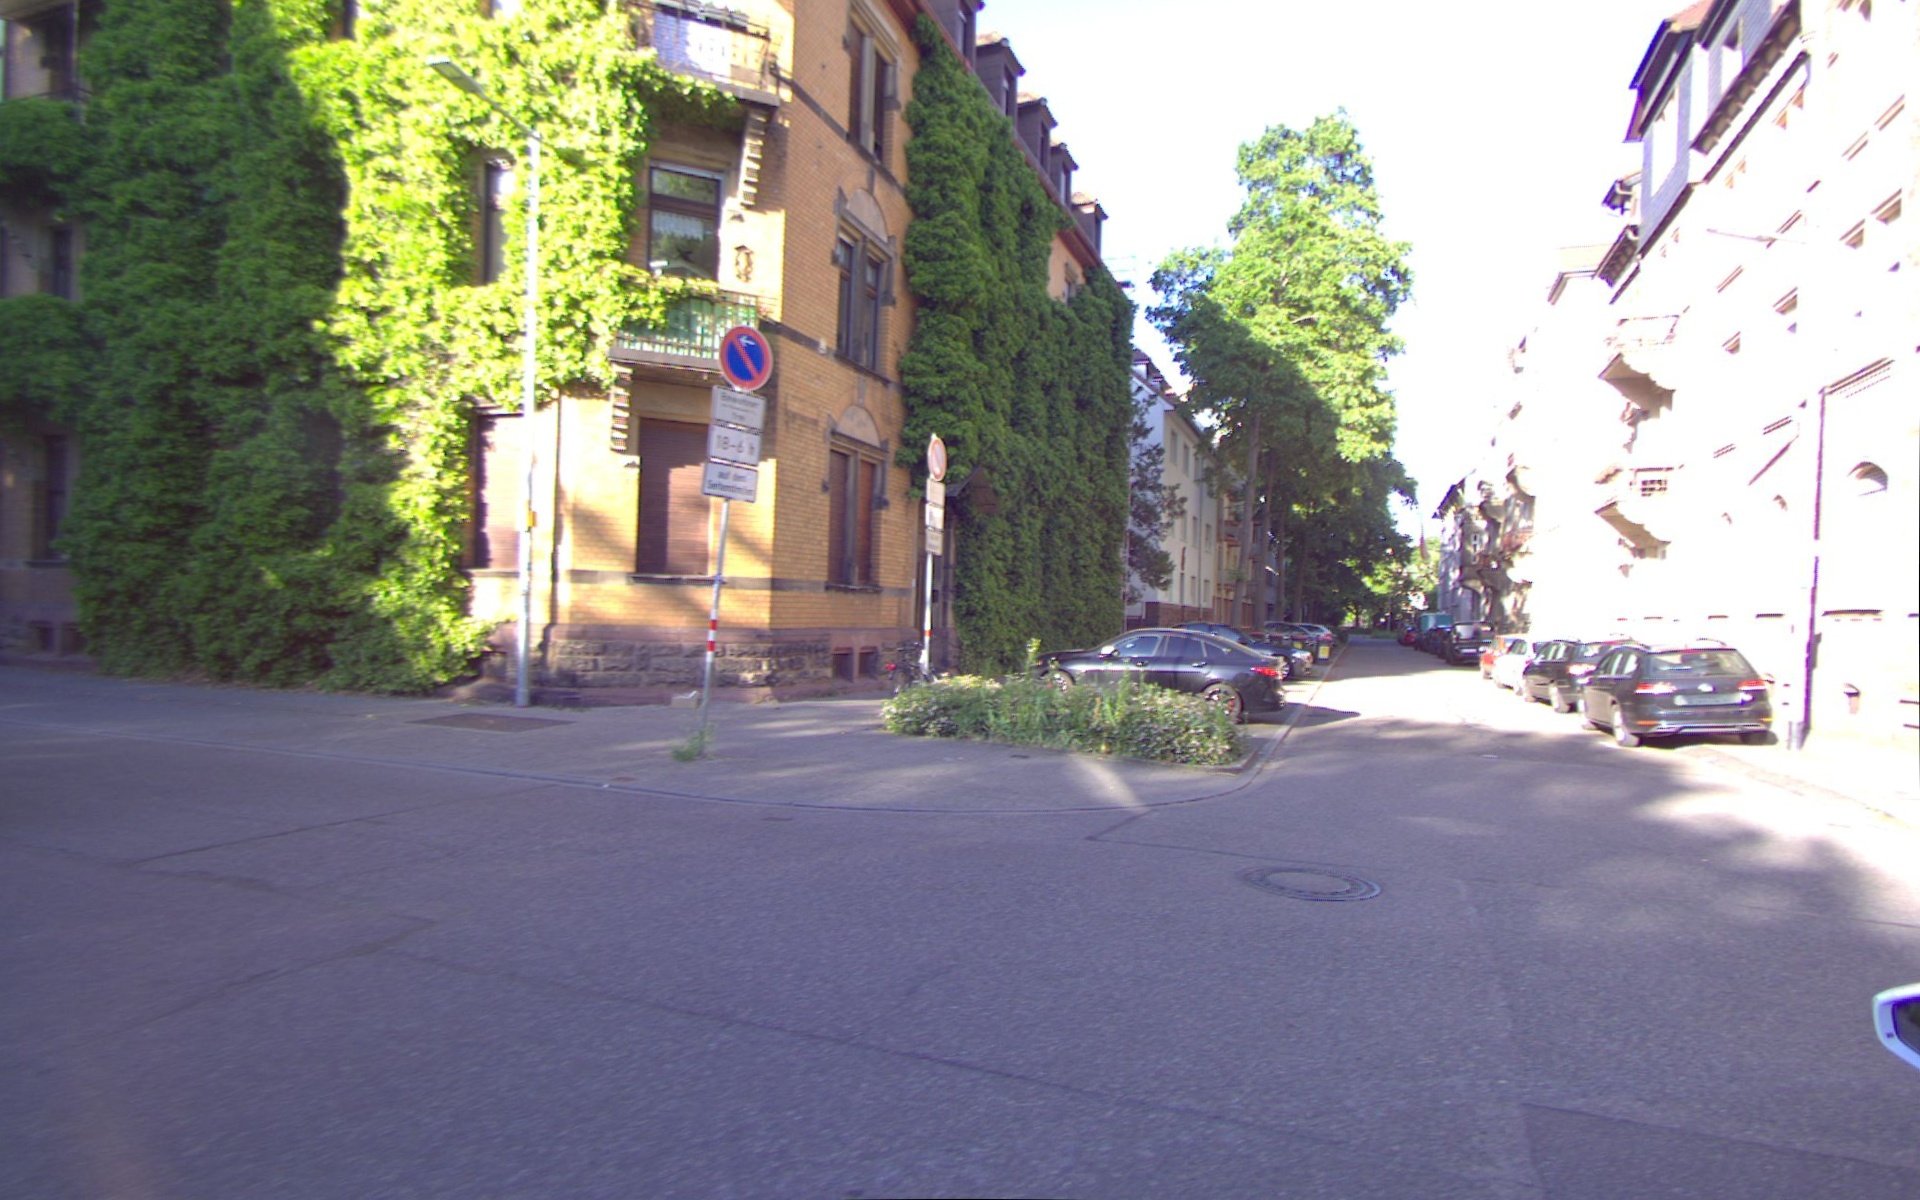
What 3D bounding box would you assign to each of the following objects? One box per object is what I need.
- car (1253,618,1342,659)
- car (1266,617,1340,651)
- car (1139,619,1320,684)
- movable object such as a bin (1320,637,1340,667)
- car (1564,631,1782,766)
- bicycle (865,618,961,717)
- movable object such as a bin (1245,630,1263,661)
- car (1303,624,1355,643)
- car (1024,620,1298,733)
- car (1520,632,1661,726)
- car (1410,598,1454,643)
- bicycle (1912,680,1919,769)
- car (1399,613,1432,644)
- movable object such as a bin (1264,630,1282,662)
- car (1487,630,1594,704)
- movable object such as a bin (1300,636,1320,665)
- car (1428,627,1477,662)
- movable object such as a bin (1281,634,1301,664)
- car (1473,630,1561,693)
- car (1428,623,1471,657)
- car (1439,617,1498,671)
[{"bbox_3d":[15.451,1.740,46.127,3.738,1.596,1.710,3,0,19],"label":"car"},{"bbox_3d":[18.929,1.840,55.430,3.739,1.596,1.710,3,0,20],"label":"car"},{"bbox_3d":[7.610,1.416,28.402,4.755,1.454,1.710,3,0,21],"label":"car"},{"bbox_3d":[13.961,1.950,37.942,0.618,1.067,0.568,3,0,16],"label":"movable object such as a bin"},{"bbox_3d":[10.528,1.338,15.164,1.709,1.602,3.999,3,0,22],"label":"car"},{"bbox_3d":[-0.630,0.908,14.037,0.554,1.285,1.600,1,0,29],"label":"bicycle"},{"bbox_3d":[11.342,1.746,38.775,0.623,1.141,0.487,3,0,16],"label":"movable object such as a bin"},{"bbox_3d":[29.186,2.658,79.485,3.739,1.256,1.710,3,0,20],"label":"car"},{"bbox_3d":[3.379,1.181,16.759,4.173,1.454,2.000,3,0,21],"label":"car"},{"bbox_3d":[12.904,1.537,20.801,1.709,1.602,3.999,3,0,22],"label":"car"},{"bbox_3d":[30.651,1.325,65.330,2.131,2.726,4.790,3,0,22],"label":"car"},{"bbox_3d":[11.123,1.431,10.772,0.505,1.011,1.577,3,0,10],"label":"bicycle"},{"bbox_3d":[36.799,2.297,81.245,2.131,2.266,4.790,3,0,22],"label":"car"},{"bbox_3d":[12.037,1.763,38.595,0.588,1.168,0.487,3,0,16],"label":"movable object such as a bin"},{"bbox_3d":[14.710,1.633,25.654,1.709,1.602,3.999,3,0,22],"label":"car"},{"bbox_3d":[13.310,1.910,38.181,0.618,1.067,0.568,3,0,16],"label":"movable object such as a bin"},{"bbox_3d":[24.200,2.160,49.475,1.773,1.534,3.999,3,0,22],"label":"car"},{"bbox_3d":[12.637,1.869,38.353,0.618,1.067,0.568,3,0,16],"label":"movable object such as a bin"},{"bbox_3d":[16.566,1.776,30.047,1.709,1.602,3.999,3,0,22],"label":"car"},{"bbox_3d":[27.164,2.205,55.867,1.773,1.701,3.999,3,0,22],"label":"car"},{"bbox_3d":[21.172,1.778,41.955,1.773,2.030,3.999,3,0,22],"label":"car"}]
